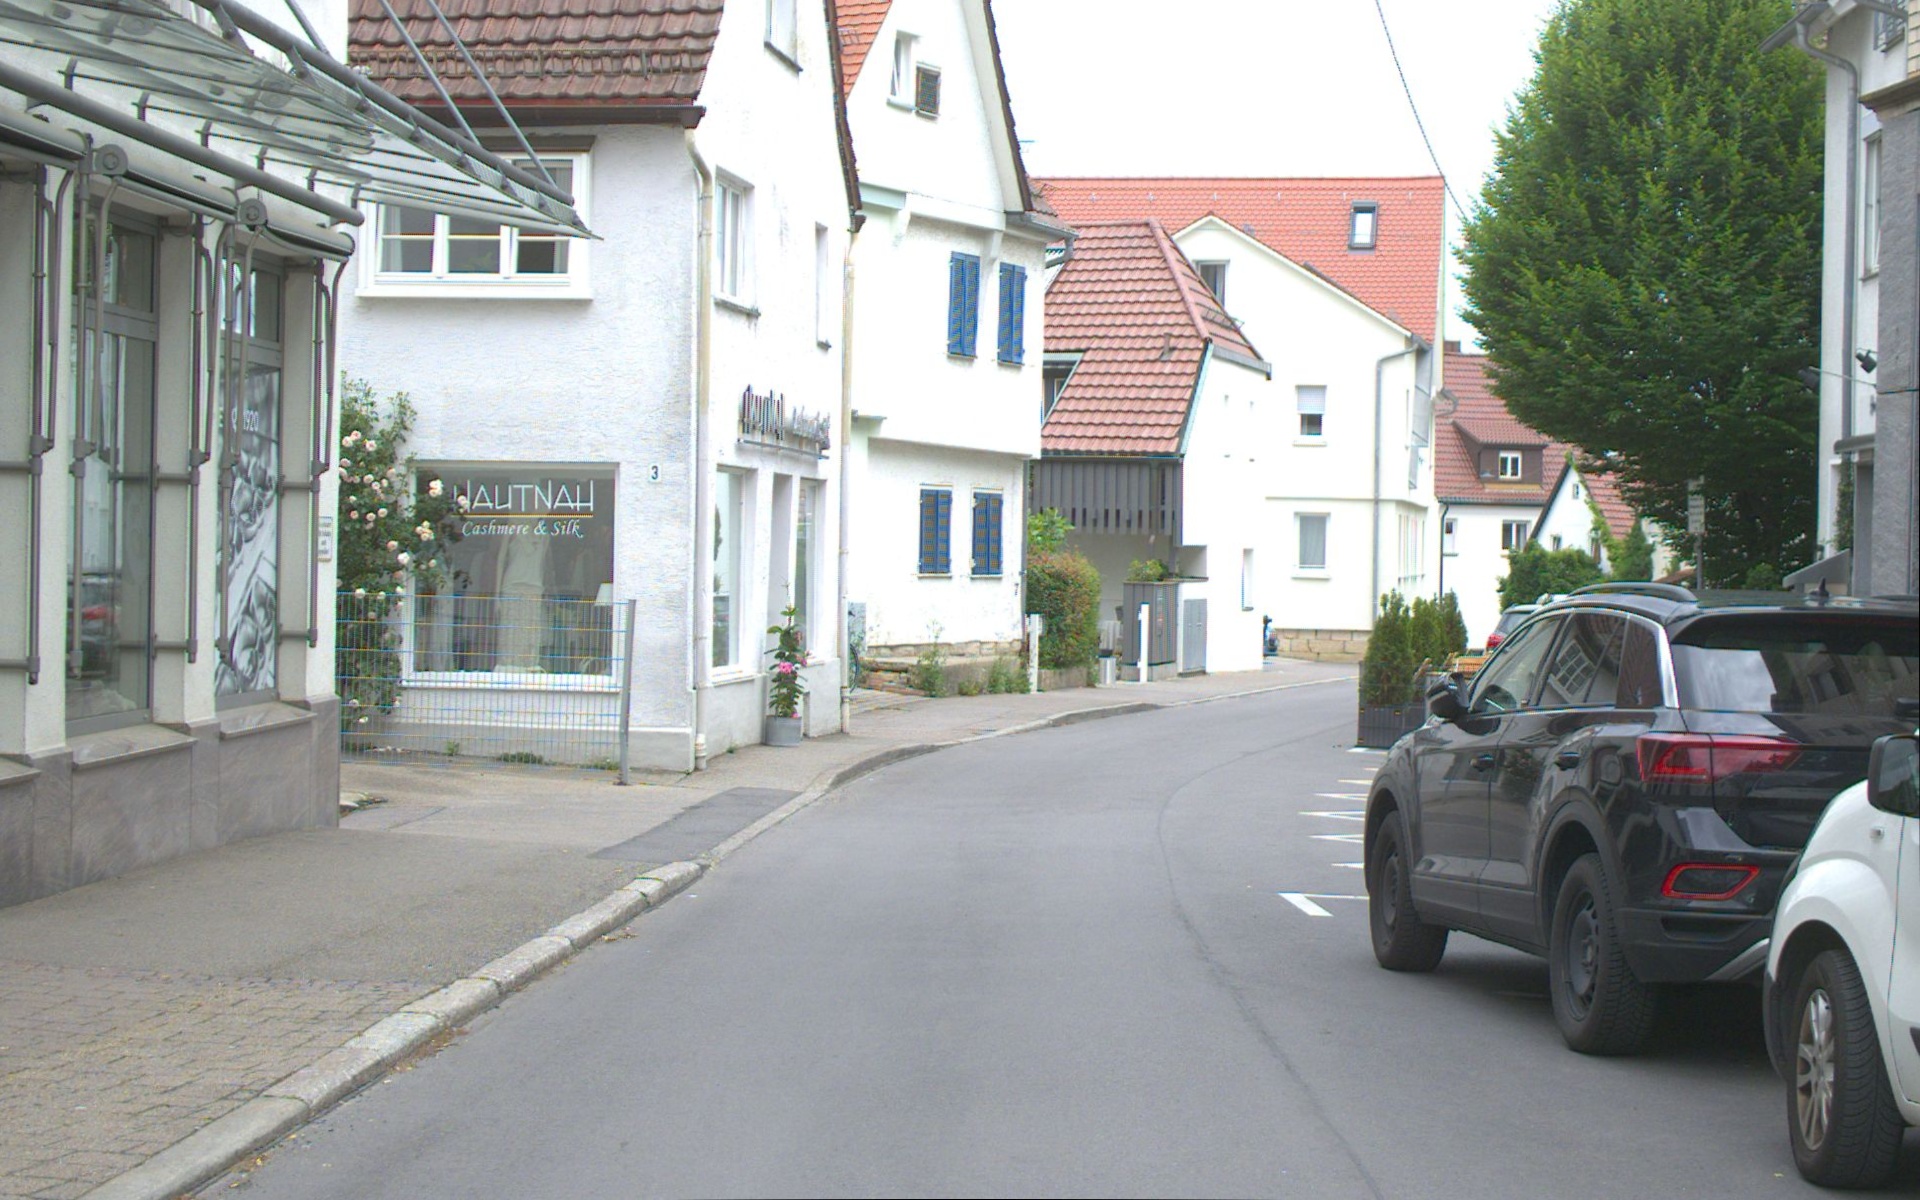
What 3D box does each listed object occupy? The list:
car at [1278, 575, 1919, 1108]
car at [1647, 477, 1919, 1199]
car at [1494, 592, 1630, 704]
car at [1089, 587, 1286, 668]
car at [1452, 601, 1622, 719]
[{"bbox_3d":[2.613,0.739,12.788,1.787,1.595,4.543,2,0,-8],"label":"car"},{"bbox_3d":[3.247,0.636,7.932,1.825,1.786,4.220,2,1,-9],"label":"car"},{"bbox_3d":[9.553,0.749,54.299,1.864,1.628,4.898,2,0,12],"label":"car"},{"bbox_3d":[4.909,0.597,73.887,3.734,1.407,2.118,4,-1,18],"label":"car"},{"bbox_3d":[8.166,0.815,48.323,1.949,1.503,4.817,2,0,14],"label":"car"}]
